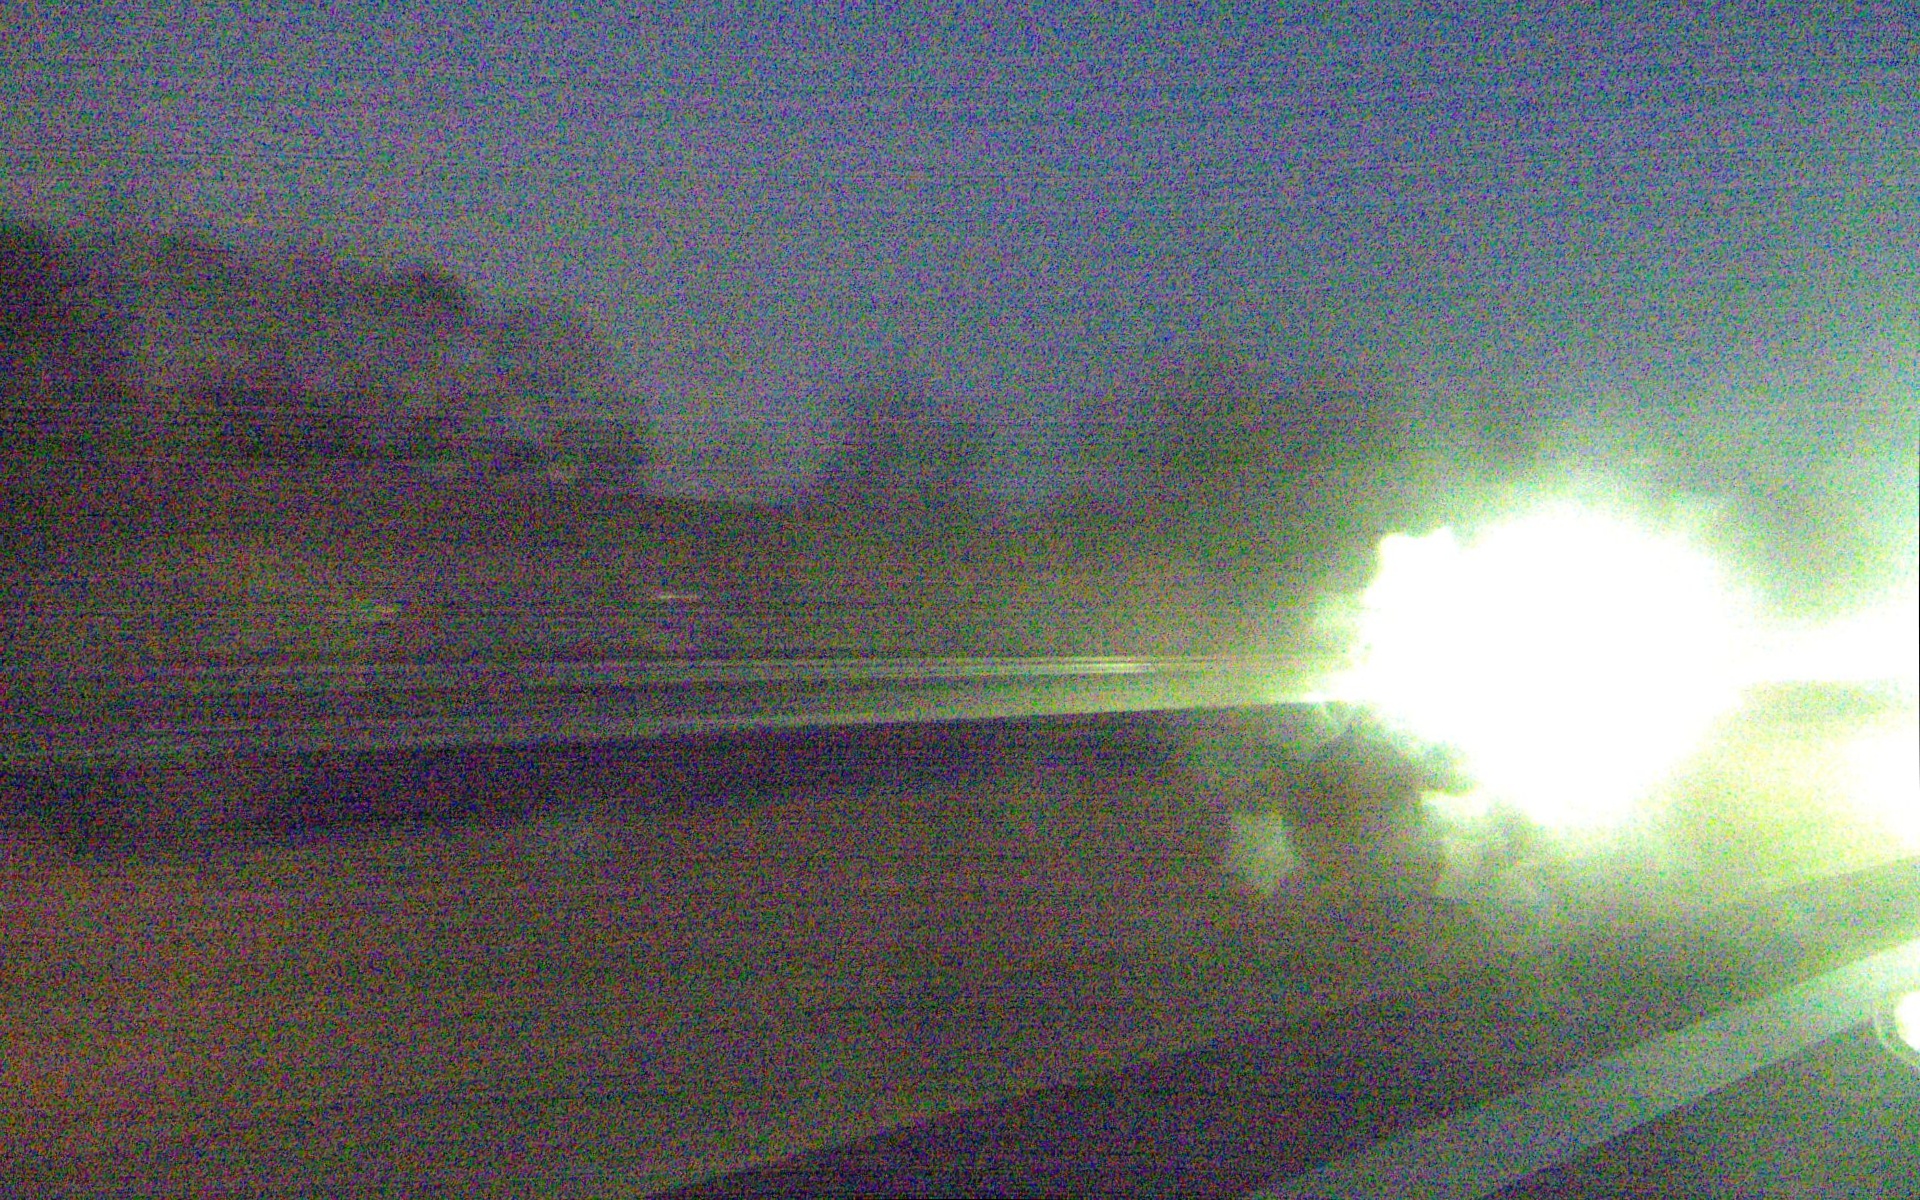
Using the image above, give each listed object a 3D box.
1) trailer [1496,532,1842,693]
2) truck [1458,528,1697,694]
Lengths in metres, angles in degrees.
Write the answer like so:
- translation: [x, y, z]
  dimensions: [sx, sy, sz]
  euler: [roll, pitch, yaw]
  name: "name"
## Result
- translation: [23.009, 0.445, 32.040]
  dimensions: [14.688, 4.326, 2.958]
  euler: [2, 3, -30]
  name: "trailer"
- translation: [17.832, 0.286, 28.960]
  dimensions: [6.428, 4.326, 2.958]
  euler: [2, 3, -30]
  name: "truck"
